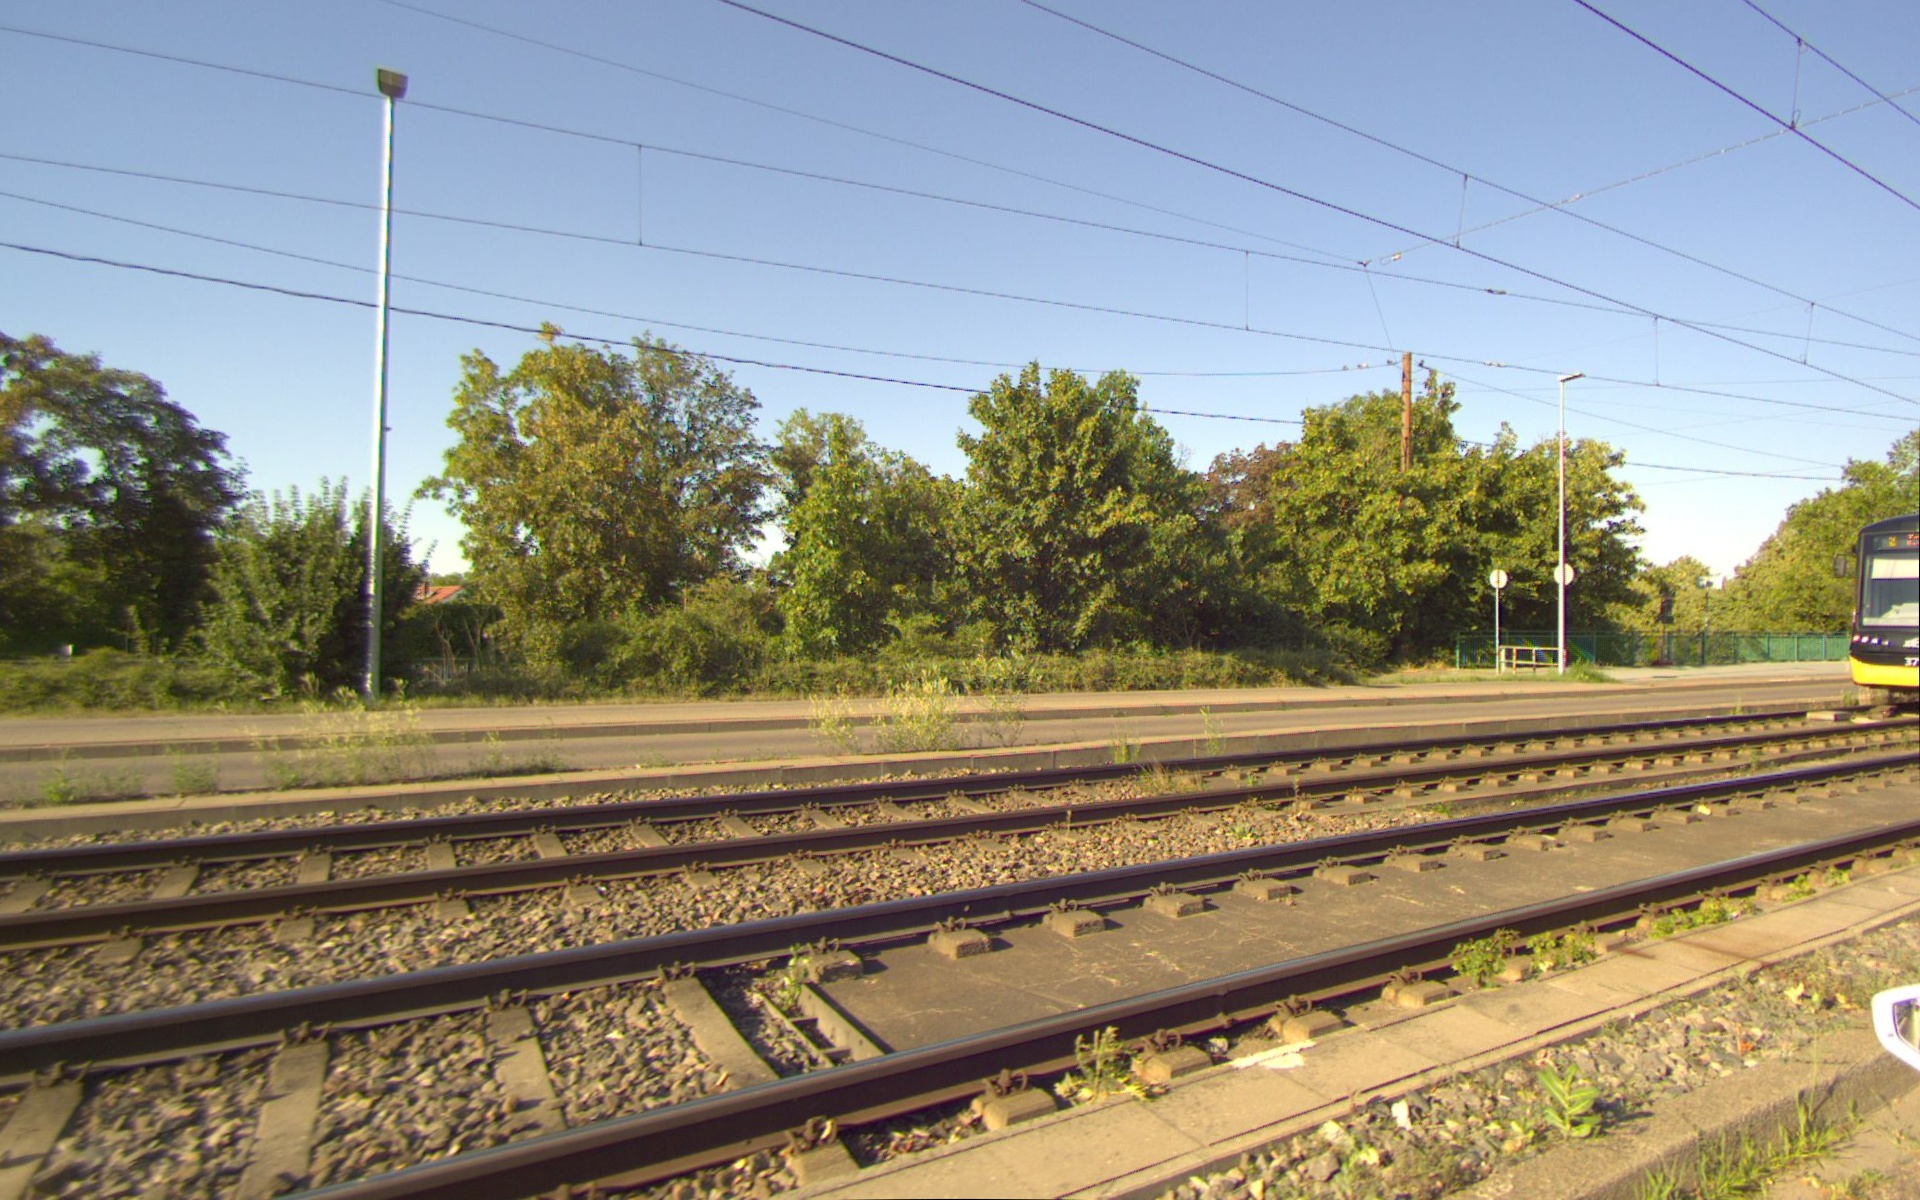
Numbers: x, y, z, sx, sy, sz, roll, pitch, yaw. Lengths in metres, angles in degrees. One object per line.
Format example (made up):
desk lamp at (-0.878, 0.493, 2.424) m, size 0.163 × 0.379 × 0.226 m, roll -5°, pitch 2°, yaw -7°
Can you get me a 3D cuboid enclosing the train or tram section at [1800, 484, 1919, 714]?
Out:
train or tram section at (22.007, 0.124, 20.684) m, size 12.925 × 3.952 × 2.990 m, roll 1°, pitch -1°, yaw -30°
